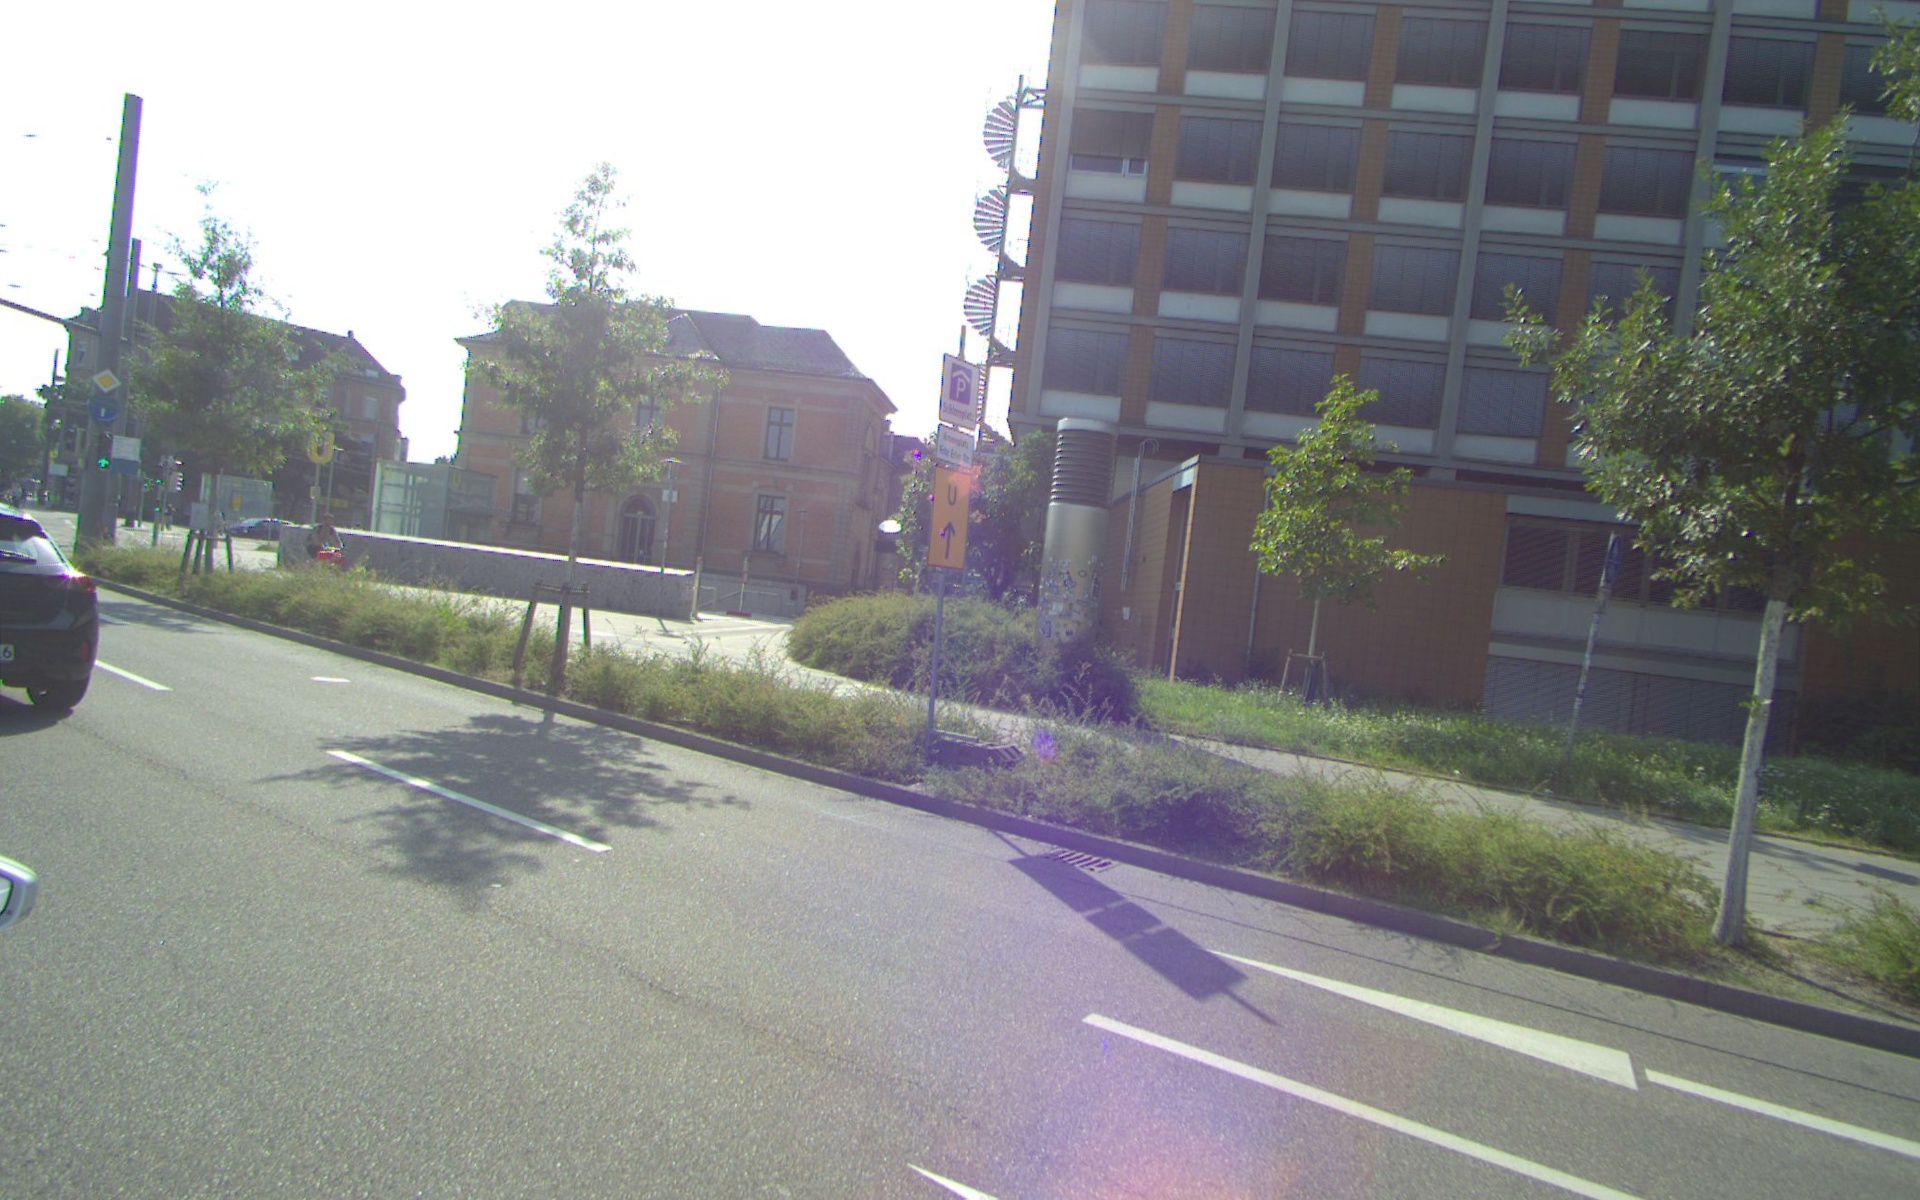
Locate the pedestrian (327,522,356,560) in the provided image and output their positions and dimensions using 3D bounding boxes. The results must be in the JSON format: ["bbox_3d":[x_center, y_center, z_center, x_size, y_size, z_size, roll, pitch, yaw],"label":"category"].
[{"bbox_3d":[-30.601,-2.904,49.764,0.909,1.711,0.834,7,0,-18],"label":"pedestrian"}]

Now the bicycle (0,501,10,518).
[{"bbox_3d":[-59.068,-5.588,60.614,1.073,0.976,2.625,7,0,-2],"label":"bicycle"}]

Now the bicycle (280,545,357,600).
[{"bbox_3d":[-13.626,-0.591,21.362,1.892,0.972,0.719,7,1,37],"label":"bicycle"}]

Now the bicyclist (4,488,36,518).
[{"bbox_3d":[-60.568,-6.265,64.825,1.072,1.701,0.937,7,1,12],"label":"bicyclist"}]

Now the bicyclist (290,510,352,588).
[{"bbox_3d":[-13.563,-1.084,21.344,0.989,1.532,0.719,7,1,38],"label":"bicyclist"}]

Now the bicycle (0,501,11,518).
[{"bbox_3d":[-60.659,-5.769,62.234,1.072,0.976,2.628,7,0,11],"label":"bicycle"}]

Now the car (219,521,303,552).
[{"bbox_3d":[-45.598,-4.130,65.718,1.985,1.414,4.390,7,-1,8],"label":"car"}]

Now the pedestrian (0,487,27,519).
[{"bbox_3d":[-59.038,-6.032,62.681,0.845,1.820,0.927,6,1,-6],"label":"pedestrian"}]

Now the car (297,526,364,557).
[{"bbox_3d":[-51.171,-4.754,81.829,1.895,1.881,4.275,7,-1,18],"label":"car"}]

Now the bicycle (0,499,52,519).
[{"bbox_3d":[-60.579,-5.891,65.025,1.072,0.976,2.628,7,0,11],"label":"bicycle"}]

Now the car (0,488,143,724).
[{"bbox_3d":[-8.066,-0.182,7.353,4.297,1.510,1.686,7,-1,29],"label":"car"}]

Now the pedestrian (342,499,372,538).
[{"bbox_3d":[-29.404,-3.973,49.077,0.908,1.711,0.922,7,0,-15],"label":"pedestrian"}]
